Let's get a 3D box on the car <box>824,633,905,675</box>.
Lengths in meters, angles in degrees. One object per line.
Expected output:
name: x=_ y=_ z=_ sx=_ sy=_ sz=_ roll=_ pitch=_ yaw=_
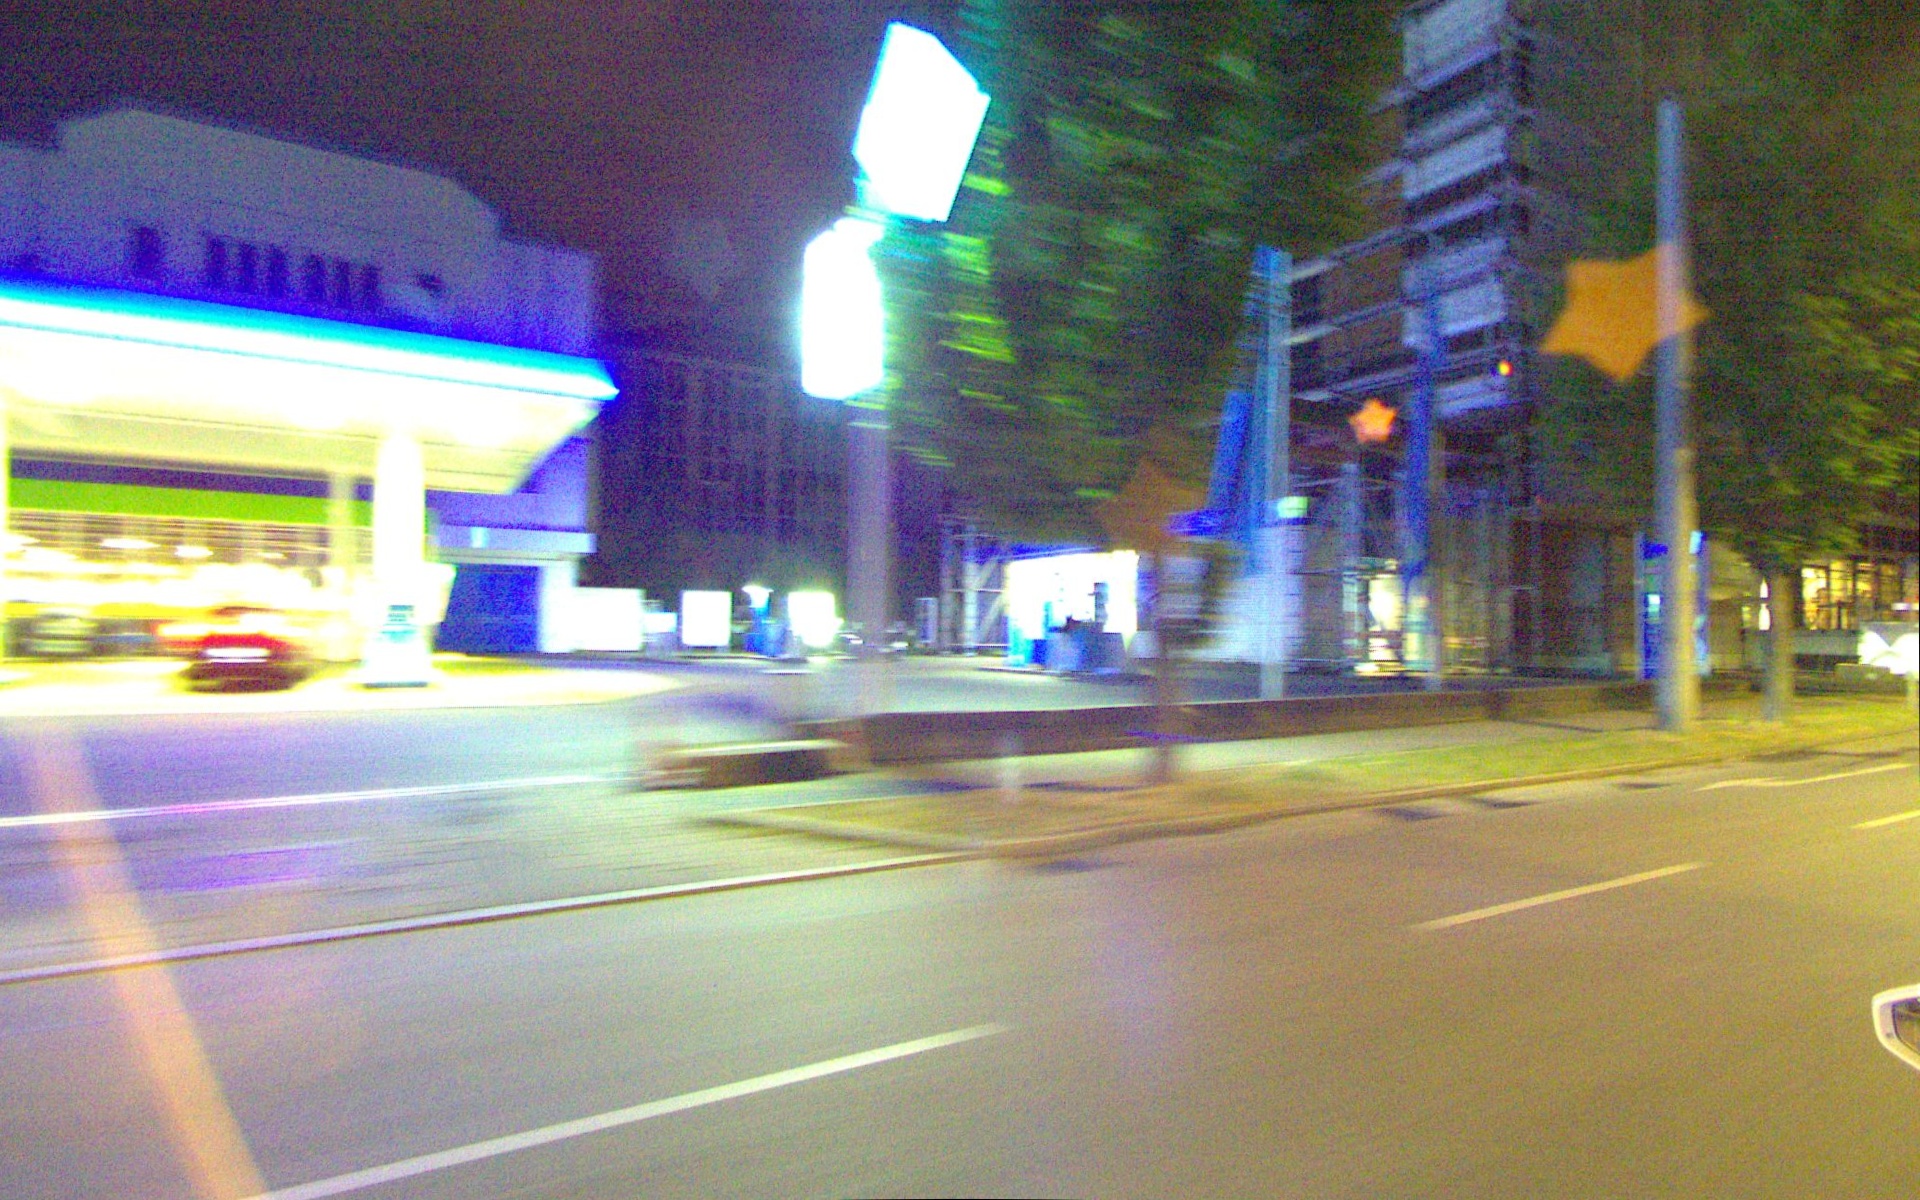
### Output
car: x=-3.288 y=1.799 z=34.138 sx=1.556 sy=1.282 sz=3.132 roll=1 pitch=0 yaw=-31

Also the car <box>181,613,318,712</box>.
car: x=-12.528 y=1.039 z=17.909 sx=1.651 sy=1.553 sz=3.732 roll=1 pitch=-2 yaw=-31

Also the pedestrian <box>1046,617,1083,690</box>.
pedestrian: x=2.397 y=1.219 z=23.002 sx=0.636 sy=1.627 sz=0.572 roll=1 pitch=-2 yaw=-32
